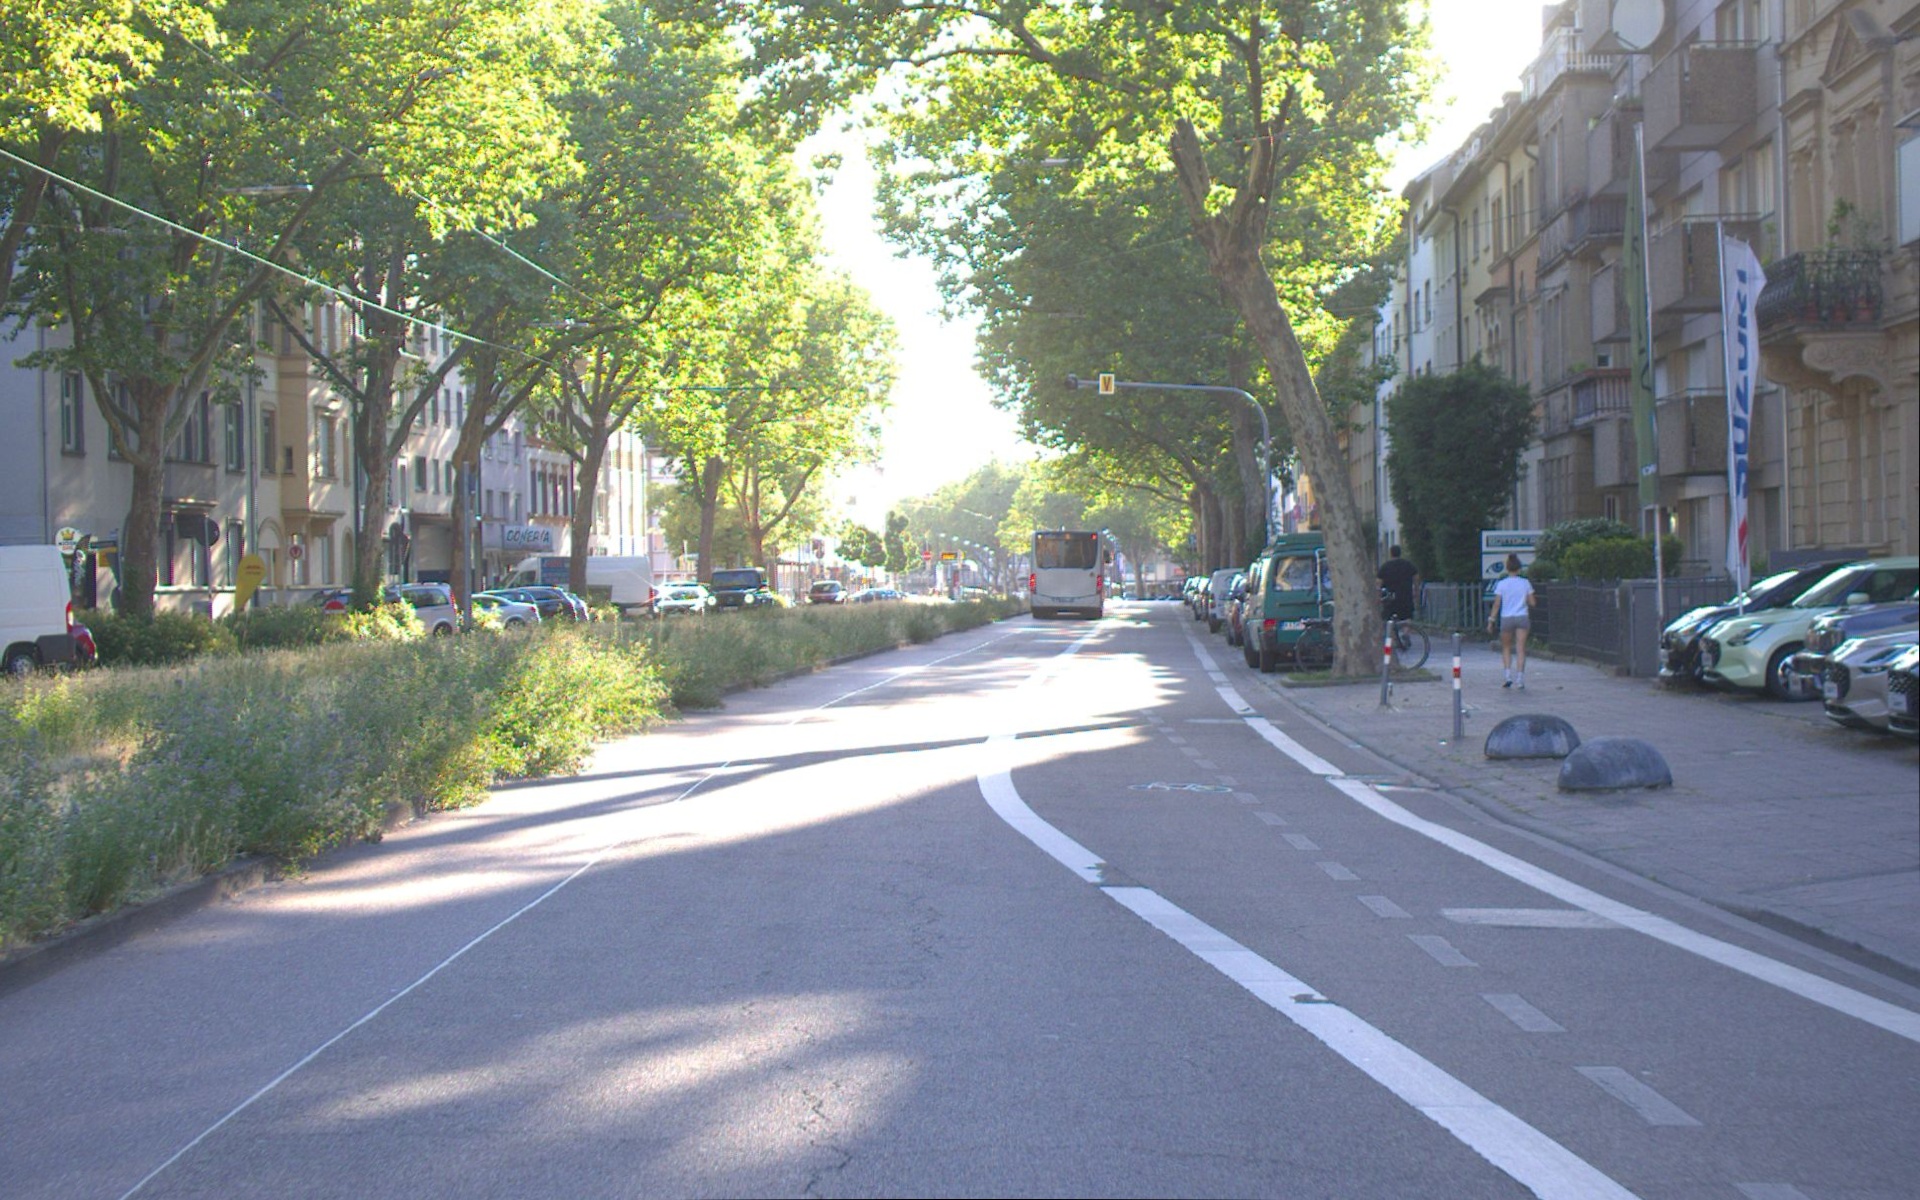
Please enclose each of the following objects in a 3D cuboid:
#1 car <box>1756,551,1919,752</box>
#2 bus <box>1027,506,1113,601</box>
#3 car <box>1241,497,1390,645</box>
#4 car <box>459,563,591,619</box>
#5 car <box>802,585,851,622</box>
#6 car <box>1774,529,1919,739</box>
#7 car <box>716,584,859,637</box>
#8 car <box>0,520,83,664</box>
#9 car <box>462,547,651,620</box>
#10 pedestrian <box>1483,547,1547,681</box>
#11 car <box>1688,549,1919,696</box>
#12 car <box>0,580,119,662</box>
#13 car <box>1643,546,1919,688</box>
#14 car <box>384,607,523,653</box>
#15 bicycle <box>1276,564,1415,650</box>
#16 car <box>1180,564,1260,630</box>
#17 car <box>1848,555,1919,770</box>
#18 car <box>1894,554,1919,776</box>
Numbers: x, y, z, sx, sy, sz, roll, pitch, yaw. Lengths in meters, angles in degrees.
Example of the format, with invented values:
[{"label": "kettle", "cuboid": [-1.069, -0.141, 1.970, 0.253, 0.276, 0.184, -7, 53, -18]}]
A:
[{"label": "car", "cuboid": [8.522, 0.363, 27.606, 3.819, 1.535, 1.859, -1, 1, 1]}, {"label": "bus", "cuboid": [3.887, -1.608, 123.042, 2.833, 3.224, 8.182, -1, 0, 1]}, {"label": "car", "cuboid": [5.696, -0.450, 55.642, 1.993, 2.249, 5.235, -1, 0, 2]}, {"label": "car", "cuboid": [-14.813, -0.304, 117.028, 3.987, 1.693, 1.856, -3, 1, -28]}, {"label": "car", "cuboid": [-5.968, 0.137, 153.793, 1.790, 1.568, 4.000, -1, 1, 3]}, {"label": "car", "cuboid": [8.978, 0.250, 29.646, 3.581, 1.714, 1.682, -1, 2, 5]}, {"label": "car", "cuboid": [-5.882, 0.344, 116.851, 4.760, 1.688, 1.875, -1, 0, -5]}, {"label": "car", "cuboid": [-18.465, -0.112, 60.408, 5.492, 2.520, 2.125, -2, 1, -39]}, {"label": "car", "cuboid": [-15.565, -0.636, 132.606, 6.935, 2.669, 2.186, -1, 0, -17]}, {"label": "pedestrian", "cuboid": [6.872, 0.173, 42.603, 0.663, 1.623, 0.923, -1, 0, 3]}, {"label": "car", "cuboid": [9.710, 0.228, 37.057, 3.418, 1.513, 1.757, -1, 0, 5]}, {"label": "car", "cuboid": [-18.272, 0.421, 66.133, 3.697, 1.461, 1.736, -3, 1, -28]}, {"label": "car", "cuboid": [9.661, 0.191, 39.254, 3.418, 1.541, 1.442, -1, 0, 1]}, {"label": "car", "cuboid": [-15.831, 0.937, 107.558, 3.986, 1.351, 1.586, -1, 0, -28]}, {"label": "bicycle", "cuboid": [5.255, 0.092, 46.932, 1.845, 1.139, 0.348, -1, 0, 3]}, {"label": "car", "cuboid": [7.301, -0.093, 96.260, 1.745, 1.764, 4.392, -1, 0, 10]}, {"label": "car", "cuboid": [8.486, 0.404, 25.296, 3.418, 1.520, 1.741, -1, 1, -1]}, {"label": "car", "cuboid": [8.484, 0.423, 23.185, 3.869, 1.508, 1.809, -1, 1, 1]}]
